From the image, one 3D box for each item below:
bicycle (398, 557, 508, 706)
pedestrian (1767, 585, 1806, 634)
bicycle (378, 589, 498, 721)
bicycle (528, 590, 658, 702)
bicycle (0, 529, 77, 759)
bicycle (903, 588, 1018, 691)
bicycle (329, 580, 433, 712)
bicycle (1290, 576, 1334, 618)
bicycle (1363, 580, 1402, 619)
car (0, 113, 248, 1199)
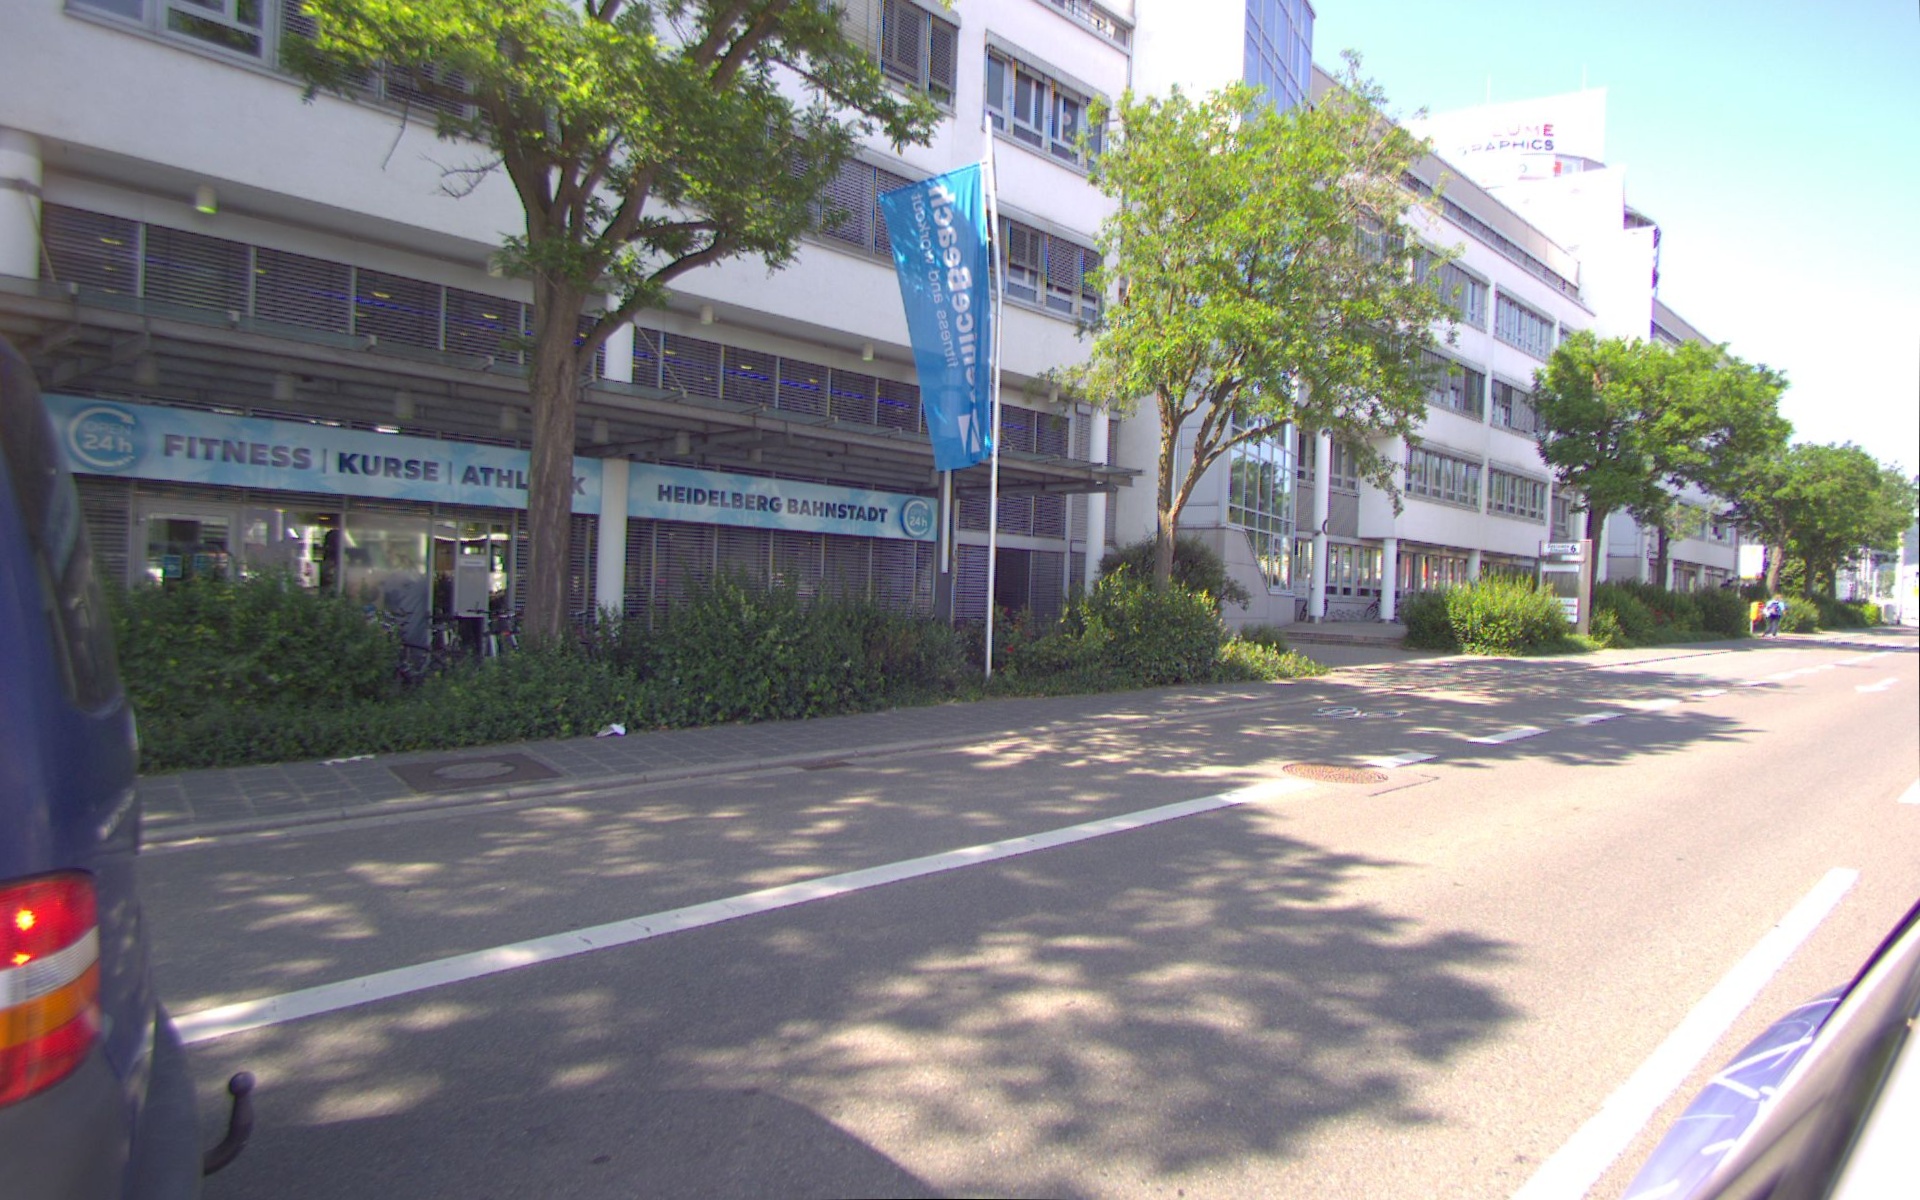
[{"bbox_3d":[-4.960,0.269,9.993,0.496,1.346,1.693,1,1,-10],"label":"bicycle"},{"bbox_3d":[34.075,0.387,41.737,1.266,1.909,0.942,0,3,-41],"label":"pedestrian"},{"bbox_3d":[-5.836,0.562,11.426,0.496,1.346,1.886,1,1,-5],"label":"bicycle"},{"bbox_3d":[-4.845,0.566,13.309,1.868,1.346,0.501,2,1,30],"label":"bicycle"},{"bbox_3d":[-7.505,0.327,7.796,0.401,1.743,1.399,1,1,-11],"label":"bicycle"},{"bbox_3d":[0.035,0.519,14.223,0.504,1.346,1.856,2,1,41],"label":"bicycle"},{"bbox_3d":[-6.425,0.455,11.318,0.496,1.346,1.889,1,1,-14],"label":"bicycle"},{"bbox_3d":[11.750,-0.097,33.775,1.851,1.371,0.506,0,1,-41],"label":"bicycle"},{"bbox_3d":[15.197,-0.015,36.388,1.851,1.371,0.506,0,1,-41],"label":"bicycle"},{"bbox_3d":[-3.405,0.406,0.534,4.806,1.972,1.997,0,2,-41],"label":"car"}]
